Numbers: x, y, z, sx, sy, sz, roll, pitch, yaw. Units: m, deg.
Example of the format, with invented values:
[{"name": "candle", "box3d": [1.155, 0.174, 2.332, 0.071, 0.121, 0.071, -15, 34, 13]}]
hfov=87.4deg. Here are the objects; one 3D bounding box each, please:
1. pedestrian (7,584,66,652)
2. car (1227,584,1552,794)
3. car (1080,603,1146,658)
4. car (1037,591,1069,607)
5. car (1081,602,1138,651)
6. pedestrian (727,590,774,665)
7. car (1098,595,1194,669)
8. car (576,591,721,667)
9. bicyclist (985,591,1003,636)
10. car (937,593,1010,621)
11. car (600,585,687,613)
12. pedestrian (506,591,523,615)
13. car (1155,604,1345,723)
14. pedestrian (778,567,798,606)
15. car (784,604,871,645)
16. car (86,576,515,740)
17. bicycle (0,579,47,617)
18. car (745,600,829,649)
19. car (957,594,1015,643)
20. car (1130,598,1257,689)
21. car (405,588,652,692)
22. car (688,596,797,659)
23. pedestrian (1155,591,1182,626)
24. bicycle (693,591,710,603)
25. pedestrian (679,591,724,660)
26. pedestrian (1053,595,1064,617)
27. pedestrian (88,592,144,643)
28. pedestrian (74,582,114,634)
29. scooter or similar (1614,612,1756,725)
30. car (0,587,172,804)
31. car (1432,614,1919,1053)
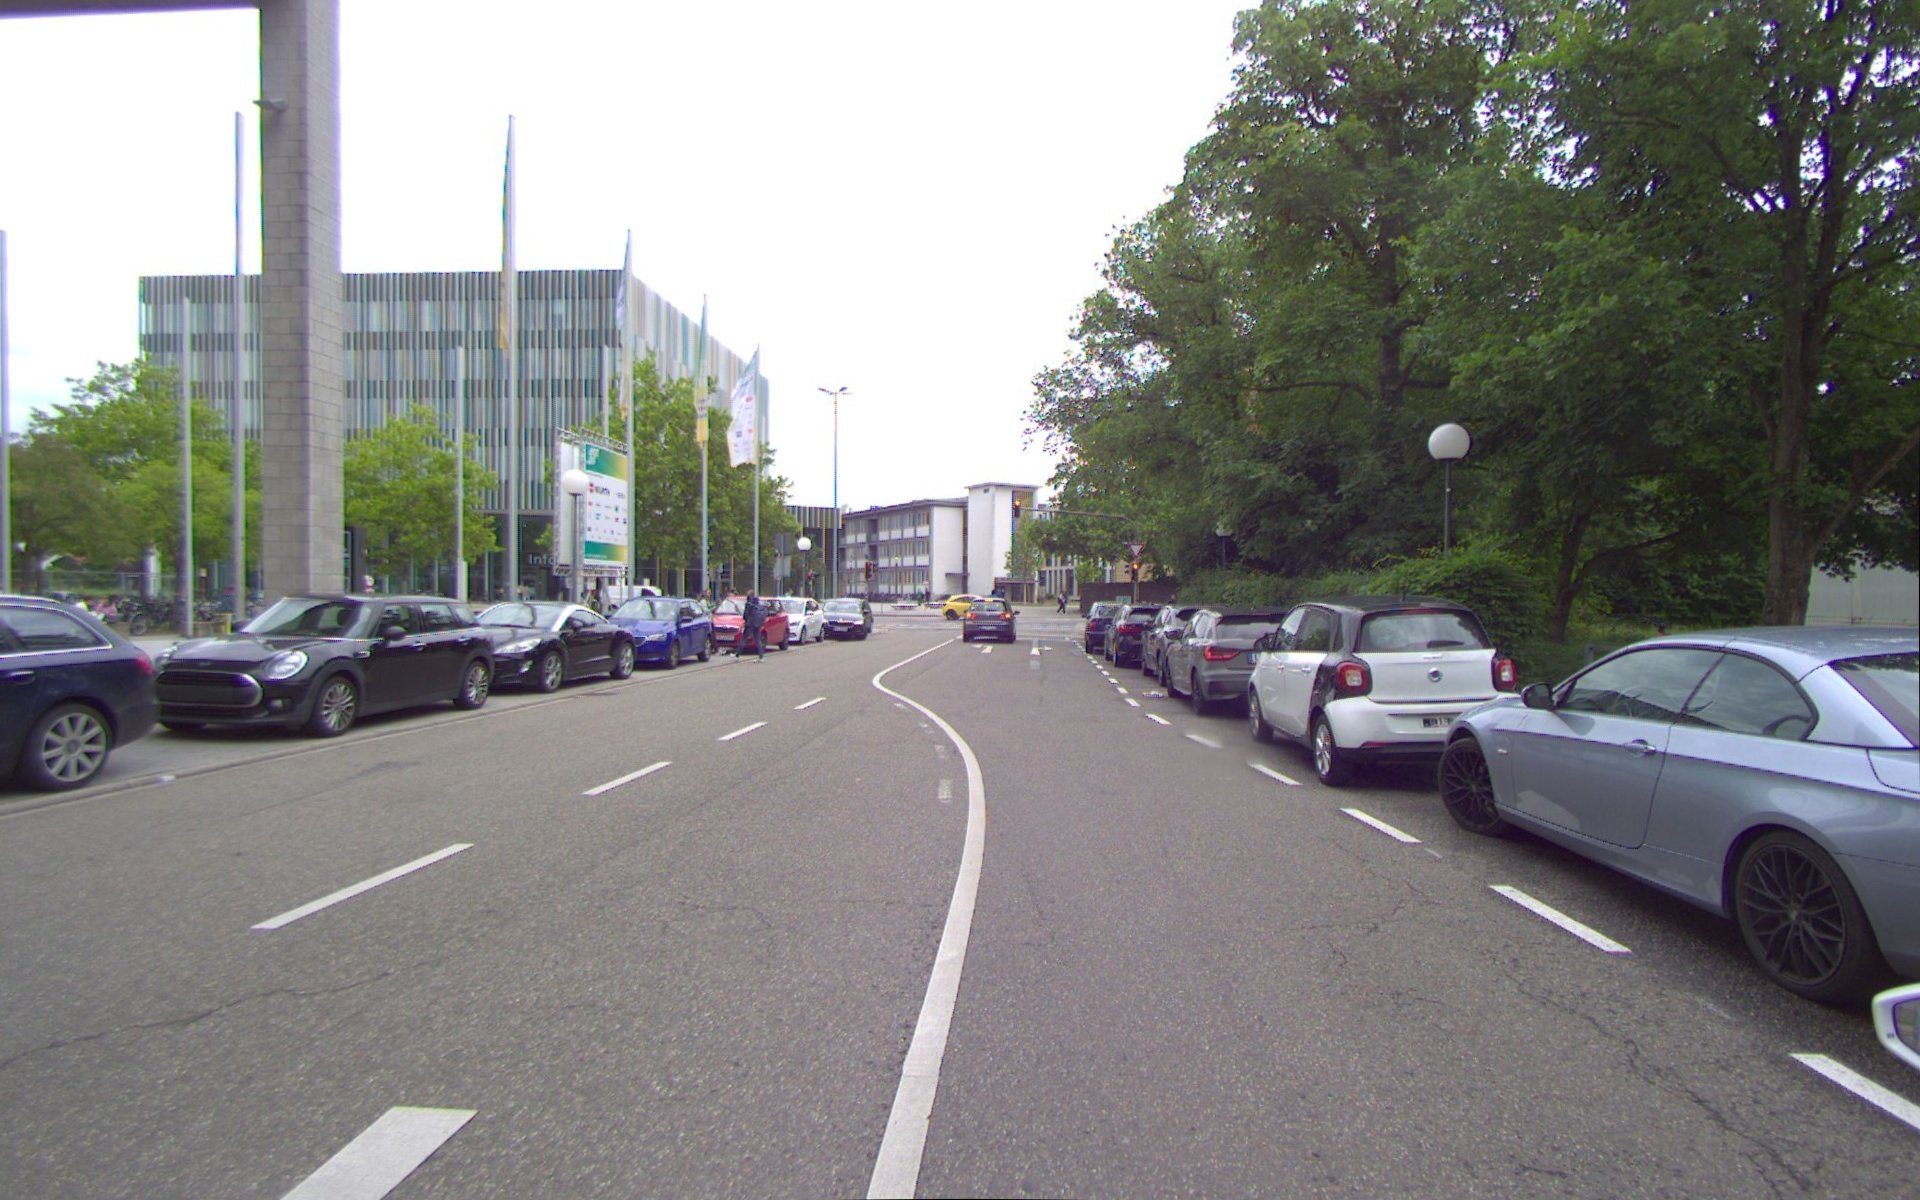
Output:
[{"name": "pedestrian", "box3d": [-24.067, 0.450, 26.194, 0.840, 1.727, 0.963, 1, 0, -23]}, {"name": "car", "box3d": [3.819, 0.693, 9.692, 1.687, 1.607, 3.879, 0, 0, 4]}, {"name": "car", "box3d": [4.516, 0.837, 29.837, 1.767, 1.427, 4.338, 1, 1, 8]}, {"name": "car", "box3d": [11.113, -0.097, 119.943, 1.967, 1.601, 4.392, -8, -4, 31]}, {"name": "car", "box3d": [5.118, 0.865, 34.885, 1.767, 1.489, 4.250, 1, 1, 6]}, {"name": "pedestrian", "box3d": [-4.875, 0.635, 23.453, 0.726, 1.684, 0.968, 1, 0, 10]}, {"name": "car", "box3d": [4.373, 0.713, 24.220, 1.767, 1.582, 4.532, 1, 0, 4]}, {"name": "car", "box3d": [-6.593, 0.551, 21.749, 1.667, 1.430, 4.377, 1, 1, 1]}, {"name": "bicyclist", "box3d": [1.389, 0.552, 41.237, 0.646, 1.803, 0.983, 1, 1, -3]}, {"name": "car", "box3d": [0.837, 0.405, 59.914, 4.109, 1.639, 2.001, 1, 0, 7]}, {"name": "car", "box3d": [-19.810, -0.069, 62.999, 4.743, 1.685, 2.000, 0, 0, 2]}, {"name": "pedestrian", "box3d": [-37.670, 0.250, 84.994, 0.981, 2.040, 0.856, -1, -2, 13]}, {"name": "car", "box3d": [3.942, 0.785, 14.336, 1.733, 1.430, 4.010, 1, 0, 3]}, {"name": "pedestrian", "box3d": [-7.637, -0.592, 44.602, 0.644, 1.738, 0.586, 0, 0, 16]}, {"name": "car", "box3d": [-5.019, 0.867, 37.594, 1.843, 1.420, 4.446, 0, 0, -28]}, {"name": "car", "box3d": [-7.210, 0.536, 11.692, 1.787, 1.462, 4.522, 2, 0, 3]}, {"name": "bicycle", "box3d": [-30.369, -0.052, 31.326, 0.733, 1.185, 3.109, 1, 0, 6]}, {"name": "car", "box3d": [-5.577, 0.749, 32.836, 1.829, 1.472, 3.860, 1, 0, 4]}, {"name": "car", "box3d": [0.957, 0.589, 34.720, 1.753, 1.517, 4.169, 1, 1, 4]}, {"name": "car", "box3d": [4.282, 0.729, 18.954, 1.732, 1.491, 3.826, 1, 1, 4]}, {"name": "car", "box3d": [-6.855, 0.620, 16.572, 1.817, 1.461, 4.421, 0, -1, 5]}, {"name": "car", "box3d": [-5.800, 0.696, 27.335, 1.683, 1.493, 4.275, 3, 0, 4]}, {"name": "pedestrian", "box3d": [9.738, 0.386, 46.864, 1.027, 1.641, 0.655, 0, 0, -17]}, {"name": "bicycle", "box3d": [-23.000, -0.267, 89.344, 1.982, 0.948, 0.481, 2, 2, 45]}, {"name": "pedestrian", "box3d": [-6.386, 0.630, 24.853, 0.913, 1.662, 0.737, 0, -2, -2]}, {"name": "pedestrian", "box3d": [7.503, 0.428, 76.770, 0.614, 1.688, 0.617, 0, 1, -42]}, {"name": "pedestrian", "box3d": [-24.317, 0.497, 28.954, 0.836, 1.440, 0.968, 1, 1, -7]}, {"name": "pedestrian", "box3d": [-24.090, 0.217, 27.953, 0.665, 1.432, 0.764, 0, 1, -27]}, {"name": "scooter or similar", "box3d": [8.465, 0.765, 11.751, 0.448, 1.226, 1.289, 0, 1, -44]}, {"name": "car", "box3d": [-7.641, 0.658, 5.870, 1.960, 1.471, 4.924, 1, 1, 4]}, {"name": "car", "box3d": [4.153, 0.806, 4.956, 1.787, 1.407, 4.195, 0, 0, 2]}]
